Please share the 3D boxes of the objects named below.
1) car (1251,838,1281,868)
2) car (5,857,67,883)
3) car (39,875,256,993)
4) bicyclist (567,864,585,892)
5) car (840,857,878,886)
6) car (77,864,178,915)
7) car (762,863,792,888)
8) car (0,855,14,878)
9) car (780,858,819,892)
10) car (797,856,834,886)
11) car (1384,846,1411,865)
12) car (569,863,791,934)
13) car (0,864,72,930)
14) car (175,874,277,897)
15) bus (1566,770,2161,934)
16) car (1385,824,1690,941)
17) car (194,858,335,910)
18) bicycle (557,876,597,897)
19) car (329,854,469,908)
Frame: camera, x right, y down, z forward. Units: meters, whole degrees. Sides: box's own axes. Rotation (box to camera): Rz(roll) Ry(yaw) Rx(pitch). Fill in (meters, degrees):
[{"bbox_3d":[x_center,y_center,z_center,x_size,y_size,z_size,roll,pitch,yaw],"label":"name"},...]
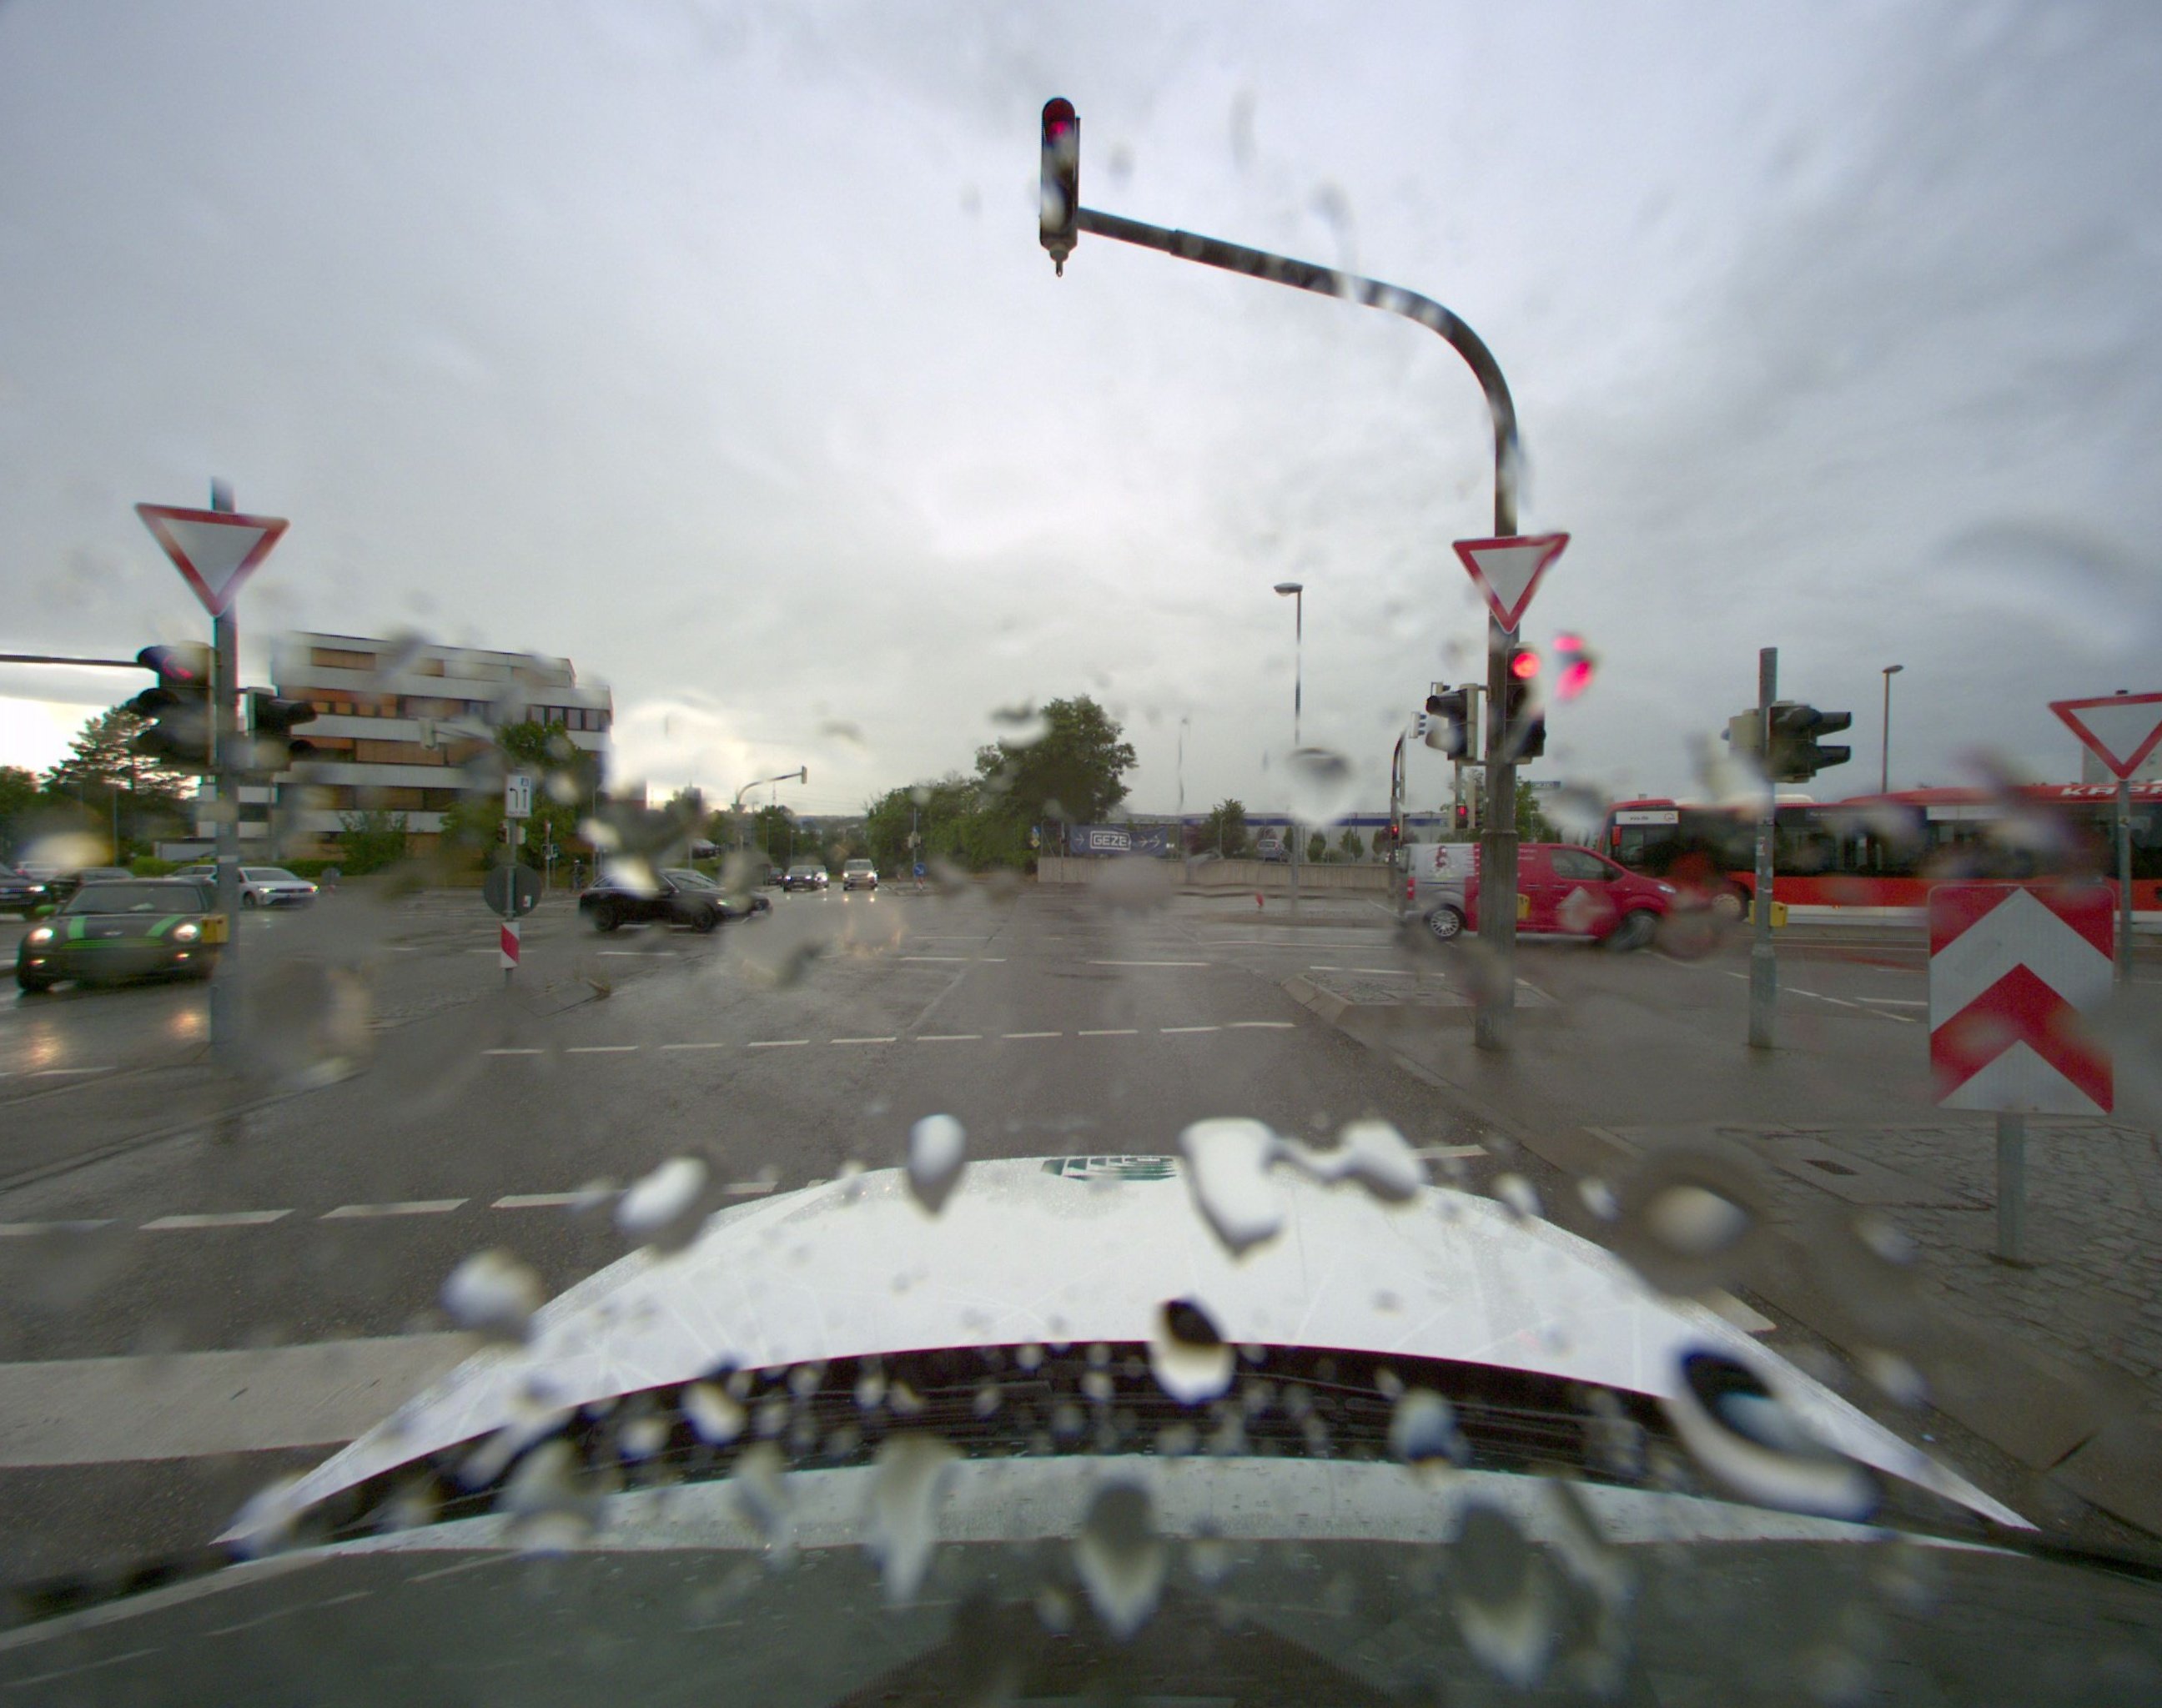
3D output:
[{"bbox_3d":[13.103,-0.074,57.540,1.979,2.013,4.015,0,0,13],"label":"car"},{"bbox_3d":[-66.772,0.997,52.013,3.949,1.596,1.969,0,0,31],"label":"car"},{"bbox_3d":[-13.720,1.059,12.182,1.690,1.387,3.419,0,0,-41],"label":"car"},{"bbox_3d":[-27.074,1.272,43.686,0.541,1.446,0.604,-1,0,5],"label":"bicyclist"},{"bbox_3d":[-13.085,0.977,48.130,1.995,1.618,3.983,0,0,-13],"label":"car"},{"bbox_3d":[-37.295,1.341,31.857,3.950,1.838,1.715,0,0,28],"label":"car"},{"bbox_3d":[-25.325,1.775,67.958,1.997,1.895,3.979,0,0,-15],"label":"car"},{"bbox_3d":[-91.024,1.029,68.190,3.948,1.849,2.013,0,0,37],"label":"car"},{"bbox_3d":[-16.802,1.225,48.814,1.998,1.895,3.978,0,0,-16],"label":"car"},{"bbox_3d":[-18.272,1.136,56.128,1.995,1.895,3.983,0,0,-12],"label":"car"},{"bbox_3d":[26.389,0.099,67.842,1.976,1.478,4.021,0,0,22],"label":"car"},{"bbox_3d":[-9.560,0.995,19.505,4.623,1.476,2.009,0,0,17],"label":"car"},{"bbox_3d":[-30.734,1.153,22.471,4.561,1.702,2.009,0,0,16],"label":"car"},{"bbox_3d":[-44.384,1.609,42.310,3.489,1.105,1.823,0,0,4],"label":"car"},{"bbox_3d":[18.797,-0.124,19.279,12.176,3.321,3.090,1,0,19],"label":"bus"},{"bbox_3d":[8.428,0.505,15.568,4.736,2.013,2.008,0,0,15],"label":"car"},{"bbox_3d":[-28.395,0.987,28.354,3.953,1.684,2.010,0,0,21],"label":"car"},{"bbox_3d":[-27.026,1.741,43.684,1.766,1.052,0.611,0,0,4],"label":"bicycle"},{"bbox_3d":[-24.871,0.939,29.737,4.108,1.840,2.009,0,0,17],"label":"car"}]
